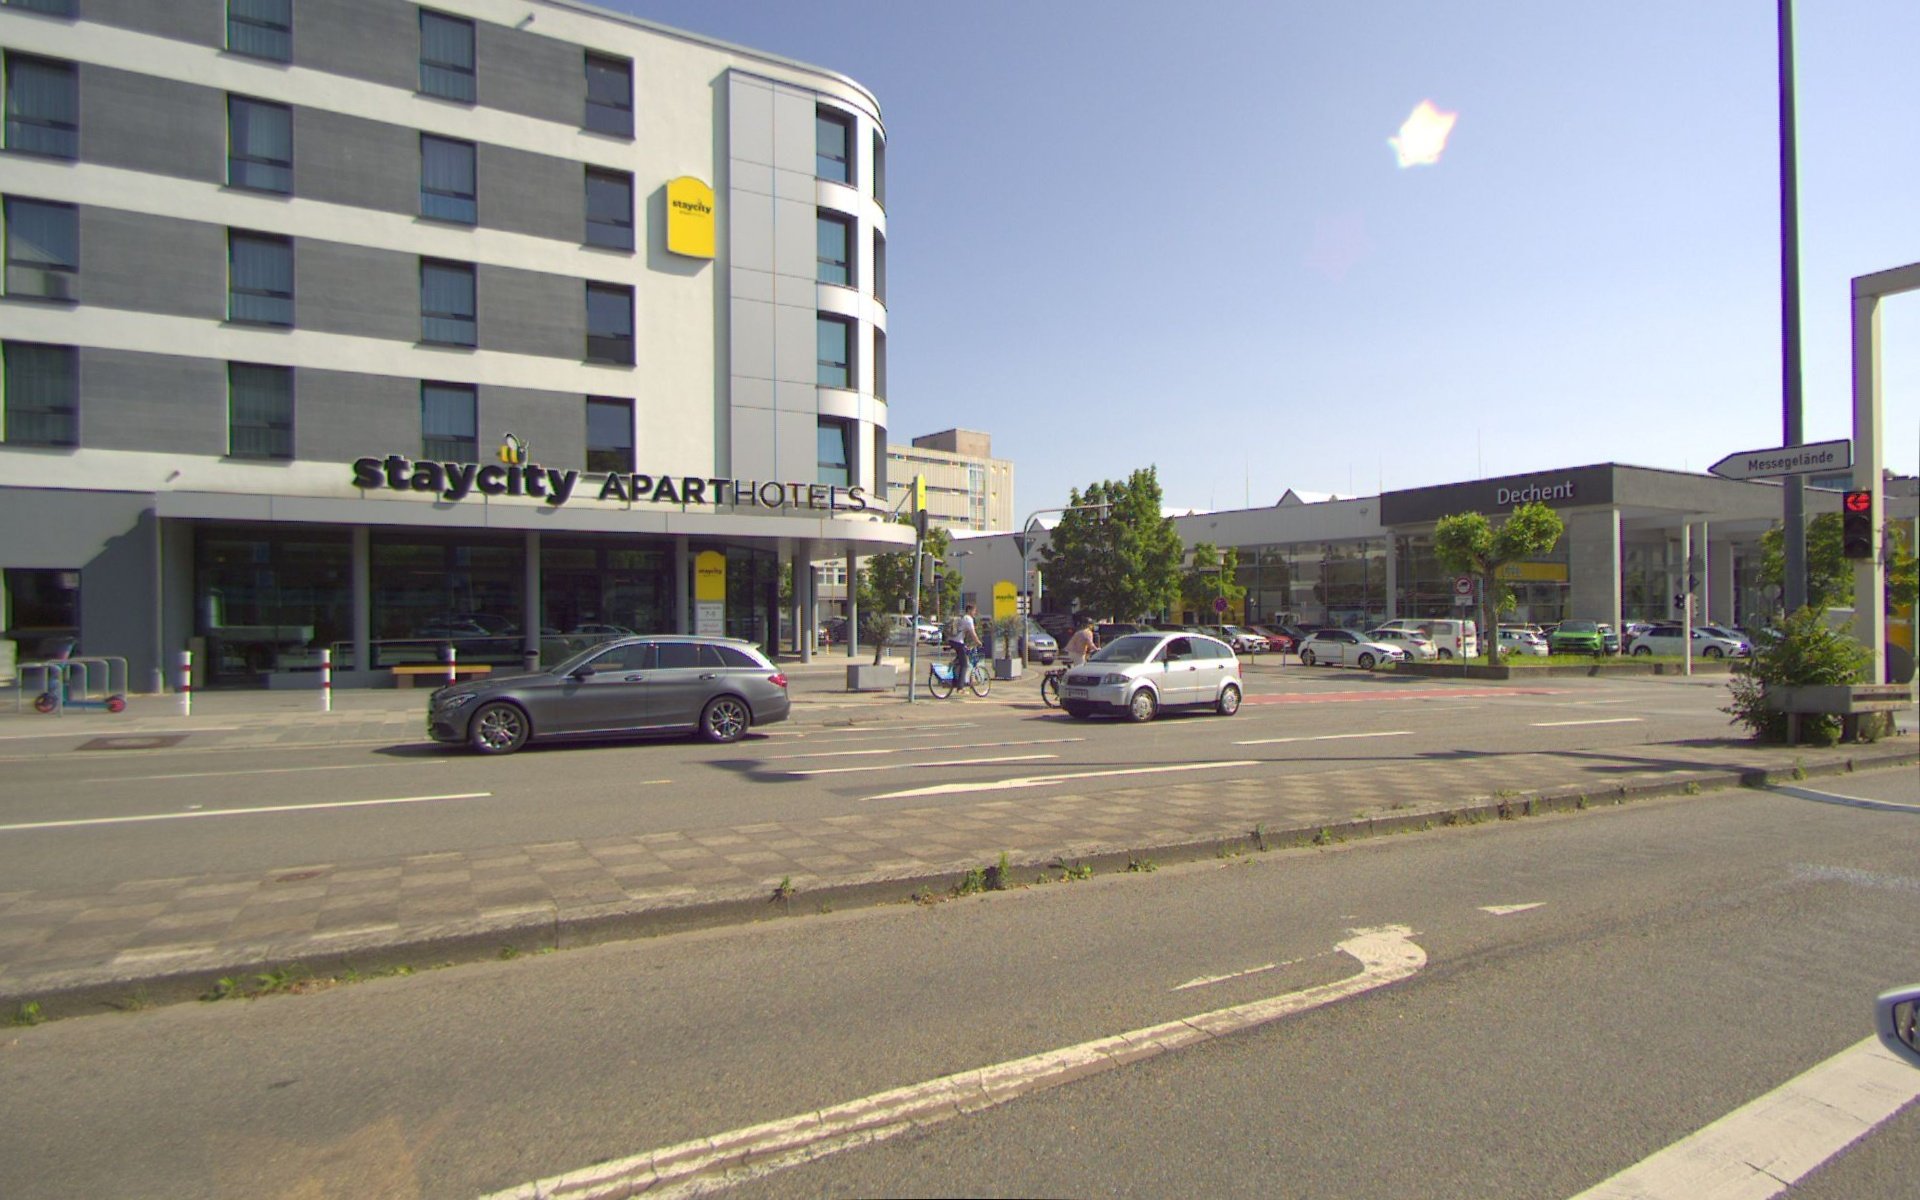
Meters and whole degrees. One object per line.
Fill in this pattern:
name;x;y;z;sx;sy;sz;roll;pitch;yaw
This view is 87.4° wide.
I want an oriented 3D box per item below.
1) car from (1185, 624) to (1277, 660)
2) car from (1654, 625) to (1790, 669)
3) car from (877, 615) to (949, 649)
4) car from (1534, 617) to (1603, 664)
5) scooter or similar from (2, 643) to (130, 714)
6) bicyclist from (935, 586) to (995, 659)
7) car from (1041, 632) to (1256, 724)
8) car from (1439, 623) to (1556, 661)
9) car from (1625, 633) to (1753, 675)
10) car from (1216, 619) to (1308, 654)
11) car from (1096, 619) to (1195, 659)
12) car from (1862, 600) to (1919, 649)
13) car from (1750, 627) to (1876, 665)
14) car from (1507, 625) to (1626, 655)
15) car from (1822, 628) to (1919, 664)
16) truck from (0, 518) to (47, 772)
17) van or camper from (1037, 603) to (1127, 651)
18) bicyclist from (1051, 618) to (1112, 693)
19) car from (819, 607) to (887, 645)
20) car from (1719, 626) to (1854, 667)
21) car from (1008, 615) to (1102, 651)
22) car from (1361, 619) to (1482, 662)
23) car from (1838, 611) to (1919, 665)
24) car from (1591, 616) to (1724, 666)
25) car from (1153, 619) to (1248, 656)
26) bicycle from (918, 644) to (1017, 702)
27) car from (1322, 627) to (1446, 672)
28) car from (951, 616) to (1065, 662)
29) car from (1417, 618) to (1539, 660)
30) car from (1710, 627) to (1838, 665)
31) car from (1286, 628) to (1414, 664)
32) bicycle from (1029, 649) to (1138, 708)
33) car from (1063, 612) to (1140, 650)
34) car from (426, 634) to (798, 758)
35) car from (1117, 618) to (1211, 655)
car;13.802;2.124;51.426;1.980;1.719;4.328;1;-2;-35
car;32.849;1.980;43.409;1.978;1.789;4.274;1;-2;-32
car;-2.814;1.867;59.419;1.971;1.815;4.376;2;0;-42
car;23.992;1.615;39.719;1.870;1.756;3.293;0;-3;23
scooter or similar;-14.692;1.282;16.538;1.499;1.127;0.349;2;-1;-28
bicyclist;0.107;0.480;21.200;1.019;1.479;0.761;1;-2;-41
car;3.465;1.323;18.134;3.883;1.457;1.757;2;-2;-40
car;24.511;1.878;45.933;1.982;1.612;4.325;1;-2;-37
car;30.546;2.212;42.195;1.981;1.620;3.959;1;-2;-36
car;15.810;1.886;52.694;1.982;1.719;4.324;1;-2;-37
car;8.410;1.750;45.923;1.980;1.719;4.328;1;-2;-35
car;53.235;1.364;55.759;1.973;2.635;4.345;1;-1;-24
car;41.637;2.217;49.138;1.978;1.719;4.333;1;-2;-32
car;27.864;1.843;46.268;1.982;1.284;4.325;4;-4;-37
car;47.015;2.302;51.130;1.973;1.719;4.345;1;-1;-24
truck;-12.651;0.406;8.847;6.362;2.578;2.346;2;-3;-31
van or camper;6.401;1.420;52.998;1.983;2.432;4.678;1;-2;-38
bicyclist;2.480;1.122;20.528;1.012;1.479;0.766;1;-1;-23
car;-6.792;1.620;63.351;1.985;2.158;4.565;2;0;-42
car;37.437;2.087;45.597;1.978;1.719;4.333;2;-1;-32
car;4.697;1.625;50.133;4.304;1.719;1.991;-1;-2;39
car;19.833;1.707;43.314;1.982;1.719;4.323;1;-2;-38
car;49.085;1.947;52.397;2.096;2.720;4.490;1;-1;-21
car;27.350;1.581;39.495;1.978;1.862;3.849;1;-2;-32
car;11.796;1.813;49.478;1.980;1.719;4.328;1;-2;-35
bicycle;0.179;1.515;21.230;2.145;1.131;0.761;2;-2;-41
car;17.407;1.992;41.400;1.980;1.719;4.328;1;-2;-35
car;1.887;1.563;41.185;1.984;1.737;4.773;2;-2;-40
car;22.493;1.673;43.714;1.982;1.719;4.323;1;-2;-38
car;38.696;2.145;47.843;1.978;1.719;4.333;1;-2;-32
car;15.101;1.750;39.089;1.980;1.317;4.328;1;-2;-35
bicycle;2.524;1.590;20.543;2.131;1.131;0.766;1;-1;-23
car;7.753;1.697;55.303;1.983;2.040;3.956;1;-2;-38
car;-4.680;1.211;13.689;4.528;1.446;1.948;1;-3;-28
car;9.784;1.739;48.459;1.980;1.719;4.328;1;-2;-35
